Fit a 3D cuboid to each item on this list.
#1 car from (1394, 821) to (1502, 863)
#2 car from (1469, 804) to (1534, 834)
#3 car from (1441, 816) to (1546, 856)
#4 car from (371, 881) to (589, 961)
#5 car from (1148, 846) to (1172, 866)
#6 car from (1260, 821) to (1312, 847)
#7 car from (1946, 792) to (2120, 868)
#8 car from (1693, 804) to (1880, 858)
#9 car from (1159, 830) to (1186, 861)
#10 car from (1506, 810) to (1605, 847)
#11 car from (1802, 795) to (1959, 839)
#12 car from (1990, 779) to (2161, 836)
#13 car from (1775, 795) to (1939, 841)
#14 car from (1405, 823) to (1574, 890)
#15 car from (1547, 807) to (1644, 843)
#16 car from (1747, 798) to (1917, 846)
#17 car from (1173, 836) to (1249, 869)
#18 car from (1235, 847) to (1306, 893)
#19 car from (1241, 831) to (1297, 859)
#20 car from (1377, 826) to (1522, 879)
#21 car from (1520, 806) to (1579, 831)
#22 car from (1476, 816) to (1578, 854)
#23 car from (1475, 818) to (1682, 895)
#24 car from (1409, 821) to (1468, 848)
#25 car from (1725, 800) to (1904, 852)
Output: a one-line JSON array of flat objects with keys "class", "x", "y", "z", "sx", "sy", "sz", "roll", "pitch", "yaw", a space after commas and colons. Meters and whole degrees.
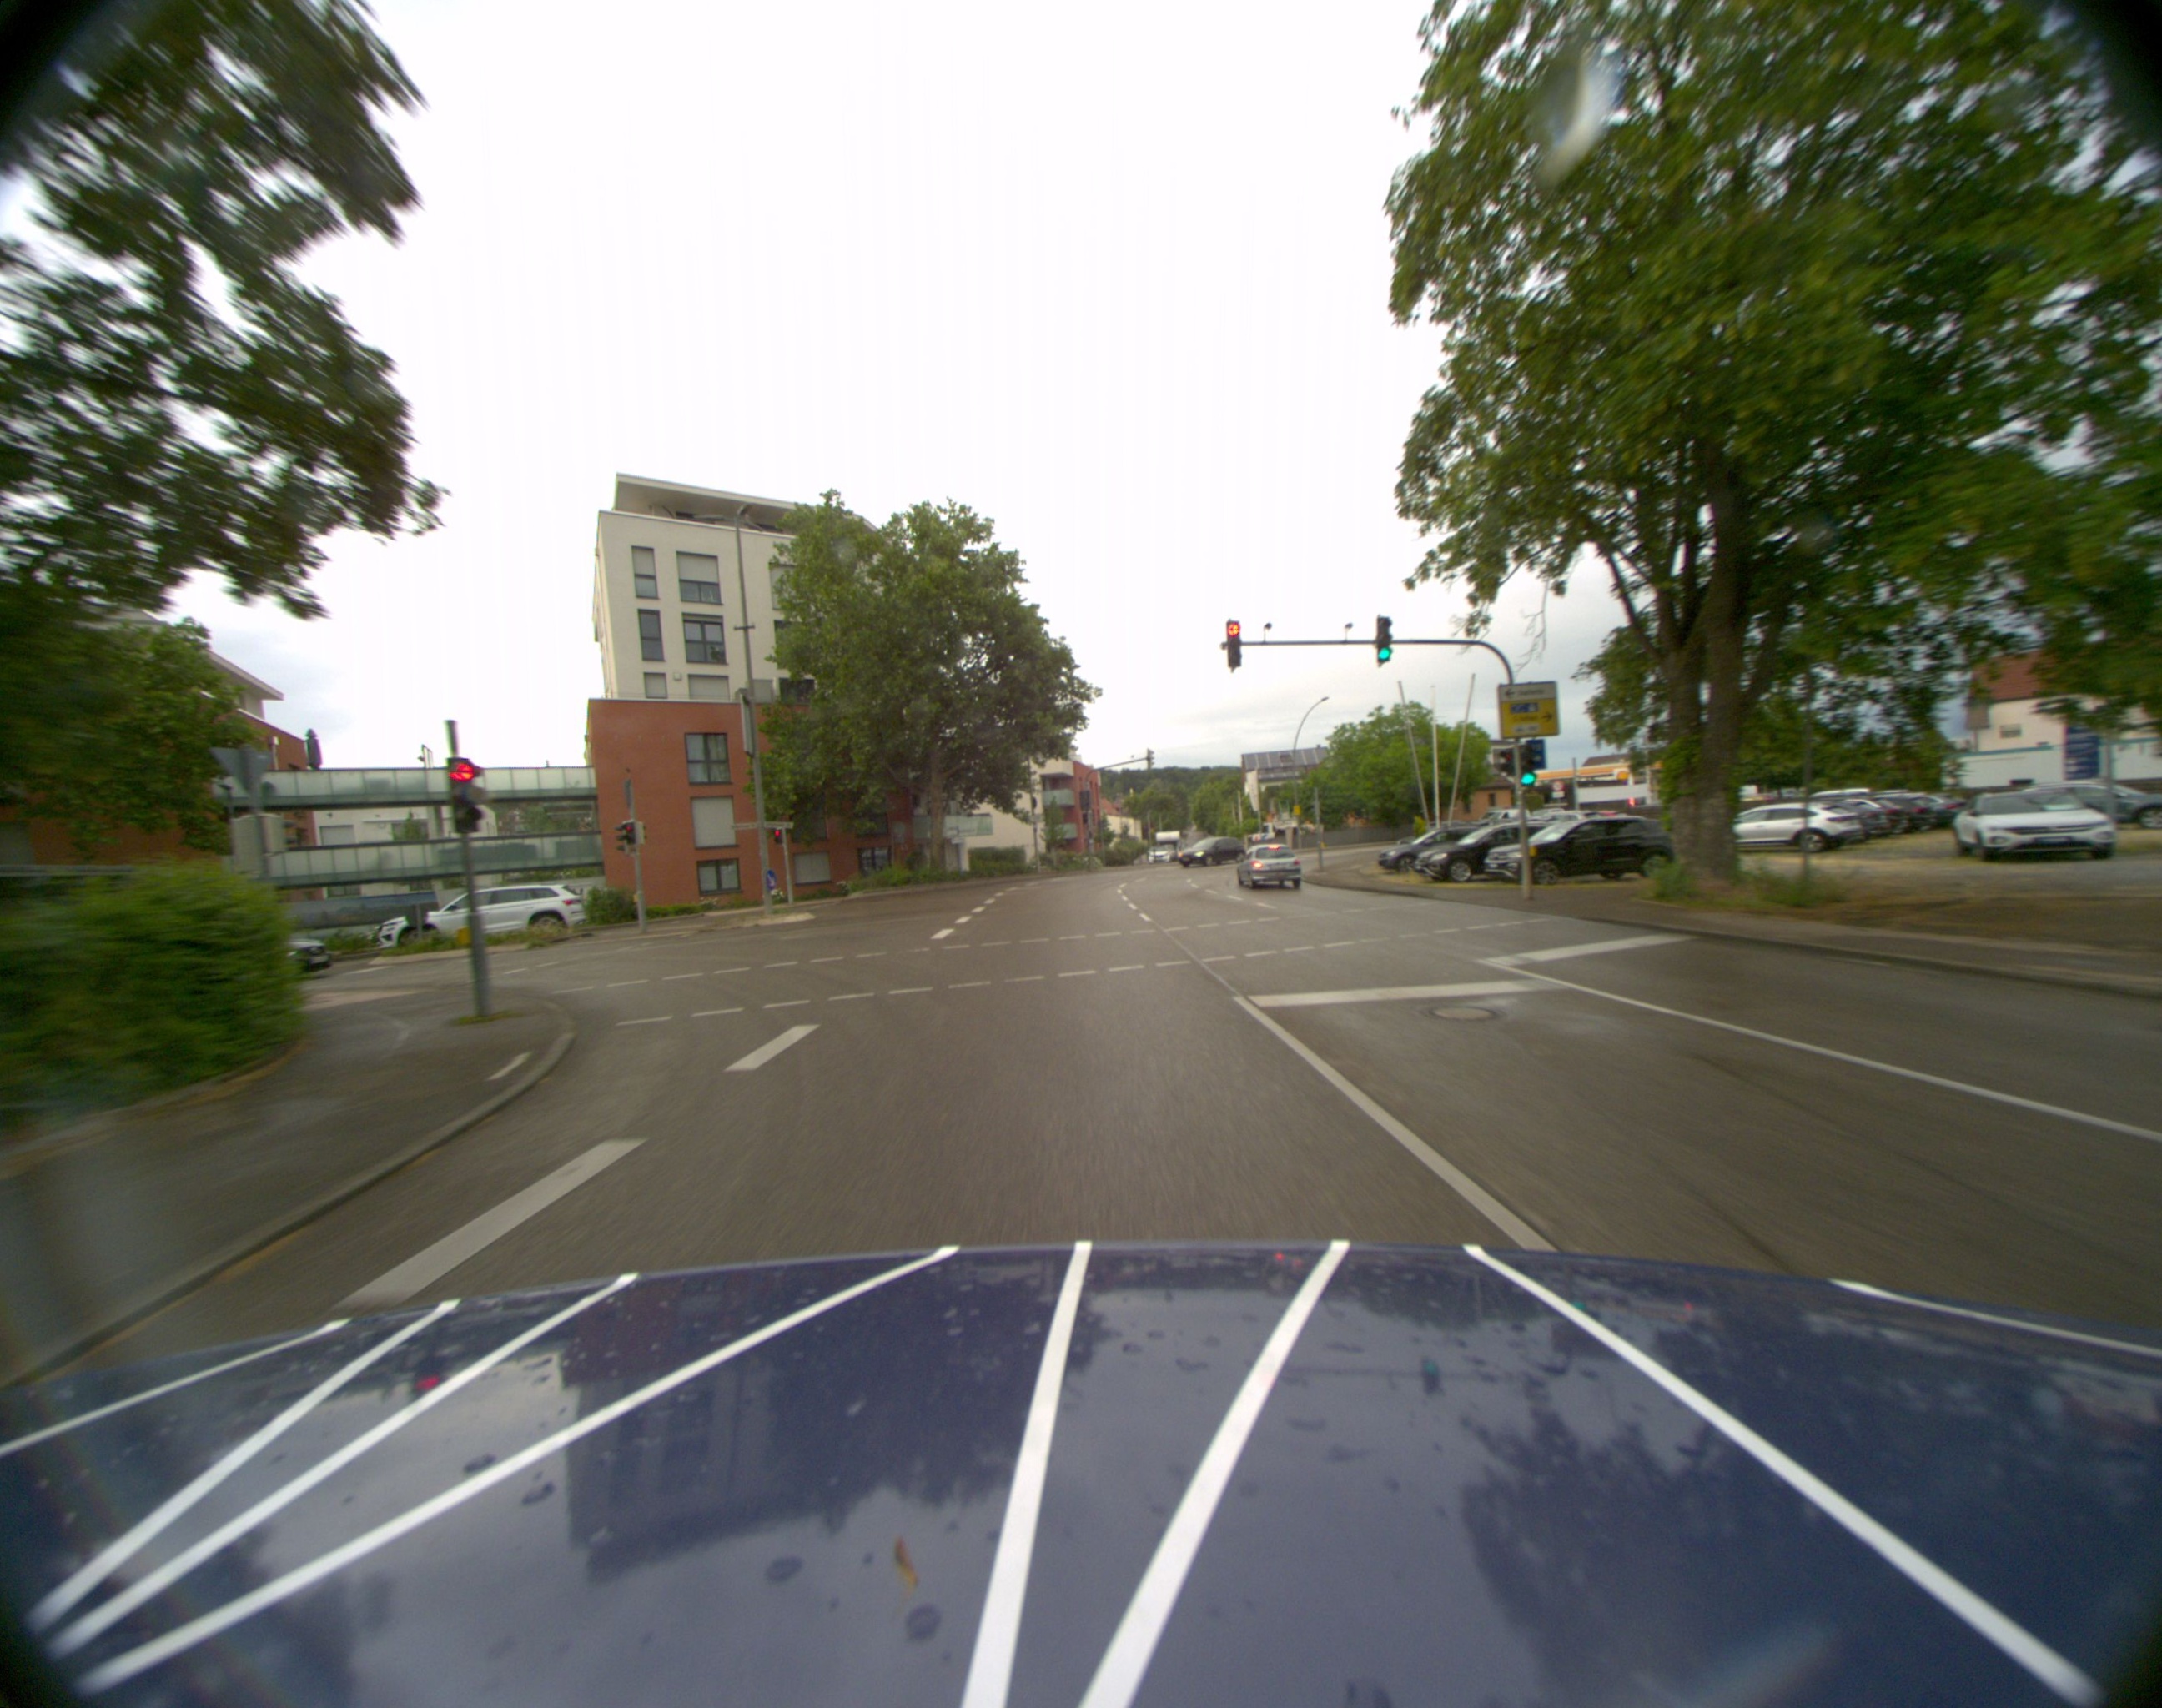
[{"class": "car", "x": 15.623, "y": -0.485, "z": 32.490, "sx": 1.596, "sy": 1.542, "sz": 3.765, "roll": -5, "pitch": 1, "yaw": -43}, {"class": "car", "x": 33.260, "y": -2.759, "z": 59.998, "sx": 5.263, "sy": 2.074, "sz": 2.049, "roll": -3, "pitch": 0, "yaw": -31}, {"class": "car", "x": 18.430, "y": -0.777, "z": 34.084, "sx": 1.595, "sy": 1.542, "sz": 3.765, "roll": -5, "pitch": 1, "yaw": -41}, {"class": "car", "x": -16.993, "y": 1.801, "z": 21.747, "sx": 4.624, "sy": 1.629, "sz": 1.668, "roll": -5, "pitch": 2, "yaw": -38}, {"class": "car", "x": 6.442, "y": 0.148, "z": 62.113, "sx": 1.769, "sy": 1.459, "sz": 4.001, "roll": -4, "pitch": 0, "yaw": 4}, {"class": "car", "x": 17.865, "y": -1.754, "z": 66.303, "sx": 1.773, "sy": 2.093, "sz": 4.211, "roll": -5, "pitch": 4, "yaw": -31}, {"class": "car", "x": 21.671, "y": -0.584, "z": 17.483, "sx": 1.786, "sy": 1.501, "sz": 4.051, "roll": -3, "pitch": 1, "yaw": 41}, {"class": "car", "x": 22.637, "y": -0.695, "z": 24.539, "sx": 1.793, "sy": 1.443, "sz": 4.034, "roll": -5, "pitch": 1, "yaw": -32}, {"class": "car", "x": 9.540, "y": -0.963, "z": 78.856, "sx": 2.573, "sy": 2.759, "sz": 6.127, "roll": -3, "pitch": 4, "yaw": 7}, {"class": "car", "x": 23.411, "y": -1.223, "z": 37.577, "sx": 1.595, "sy": 1.542, "sz": 3.765, "roll": -5, "pitch": 1, "yaw": -41}, {"class": "car", "x": 31.990, "y": -1.461, "z": 30.513, "sx": 1.793, "sy": 1.443, "sz": 4.034, "roll": -5, "pitch": 1, "yaw": -32}, {"class": "car", "x": 32.345, "y": -1.473, "z": 24.202, "sx": 1.793, "sy": 1.545, "sz": 4.035, "roll": -4, "pitch": 1, "yaw": -27}, {"class": "car", "x": 29.548, "y": -1.343, "z": 29.059, "sx": 1.793, "sy": 1.443, "sz": 4.034, "roll": -5, "pitch": 1, "yaw": -32}, {"class": "car", "x": 11.384, "y": 0.063, "z": 21.375, "sx": 3.765, "sy": 1.558, "sz": 1.673, "roll": -4, "pitch": 1, "yaw": 6}, {"class": "car", "x": 26.257, "y": -1.472, "z": 38.830, "sx": 1.595, "sy": 1.542, "sz": 3.765, "roll": -5, "pitch": 1, "yaw": -41}, {"class": "car", "x": 27.176, "y": -1.124, "z": 27.626, "sx": 1.793, "sy": 1.443, "sz": 4.034, "roll": -5, "pitch": 1, "yaw": -32}, {"class": "car", "x": 7.003, "y": -0.106, "z": 40.753, "sx": 4.006, "sy": 1.419, "sz": 1.766, "roll": -6, "pitch": 3, "yaw": -41}, {"class": "car", "x": 6.375, "y": 0.498, "z": 25.940, "sx": 1.649, "sy": 1.372, "sz": 3.703, "roll": -3, "pitch": 0, "yaw": 3}, {"class": "car", "x": 15.082, "y": -0.773, "z": 61.216, "sx": 1.773, "sy": 2.093, "sz": 4.373, "roll": -5, "pitch": 4, "yaw": -30}, {"class": "car", "x": 12.348, "y": -0.062, "z": 25.736, "sx": 4.153, "sy": 1.501, "sz": 1.673, "roll": -4, "pitch": 2, "yaw": 16}, {"class": "car", "x": 39.126, "y": -2.997, "z": 63.453, "sx": 4.929, "sy": 1.853, "sz": 2.049, "roll": -3, "pitch": 0, "yaw": -31}, {"class": "car", "x": 20.962, "y": -0.874, "z": 35.837, "sx": 1.595, "sy": 1.542, "sz": 3.765, "roll": -5, "pitch": 1, "yaw": -41}, {"class": "car", "x": 12.070, "y": 0.057, "z": 18.631, "sx": 3.893, "sy": 1.558, "sz": 1.672, "roll": -4, "pitch": 1, "yaw": 3}, {"class": "car", "x": 22.326, "y": -1.256, "z": 47.409, "sx": 4.006, "sy": 1.420, "sz": 1.765, "roll": -6, "pitch": 5, "yaw": -40}, {"class": "car", "x": 24.906, "y": -0.917, "z": 25.955, "sx": 1.793, "sy": 1.443, "sz": 4.034, "roll": -5, "pitch": 1, "yaw": -32}]
